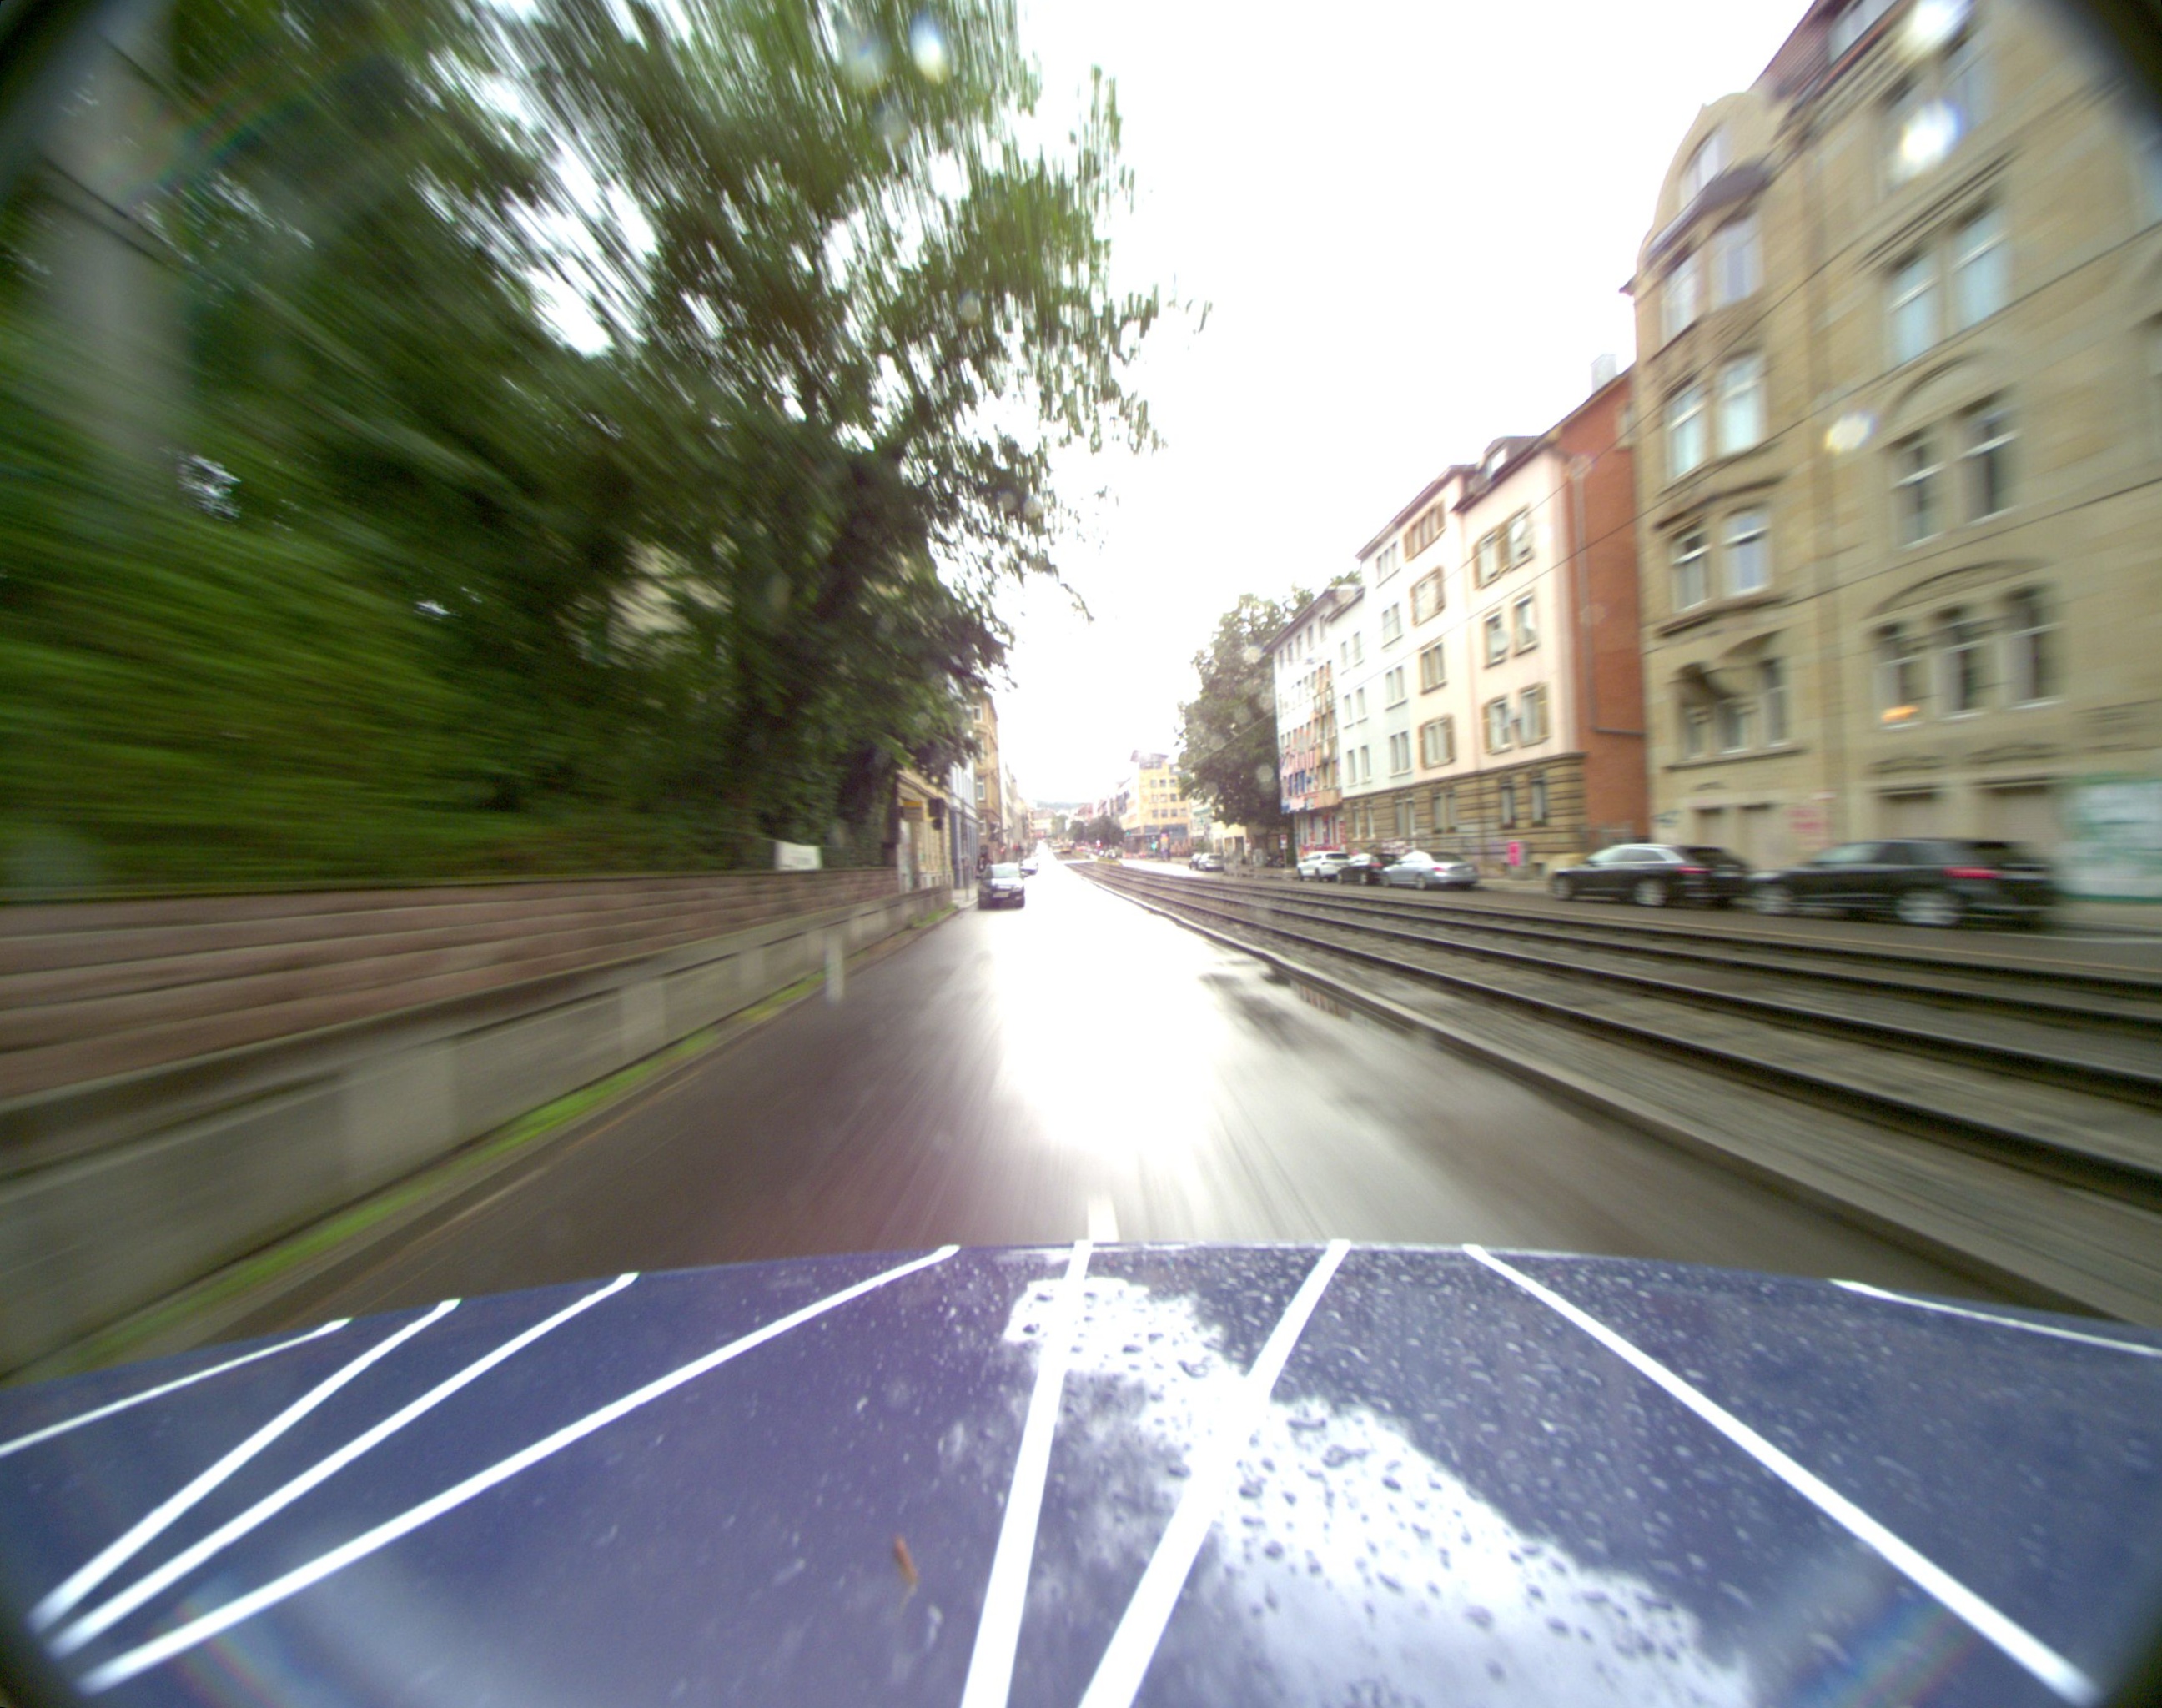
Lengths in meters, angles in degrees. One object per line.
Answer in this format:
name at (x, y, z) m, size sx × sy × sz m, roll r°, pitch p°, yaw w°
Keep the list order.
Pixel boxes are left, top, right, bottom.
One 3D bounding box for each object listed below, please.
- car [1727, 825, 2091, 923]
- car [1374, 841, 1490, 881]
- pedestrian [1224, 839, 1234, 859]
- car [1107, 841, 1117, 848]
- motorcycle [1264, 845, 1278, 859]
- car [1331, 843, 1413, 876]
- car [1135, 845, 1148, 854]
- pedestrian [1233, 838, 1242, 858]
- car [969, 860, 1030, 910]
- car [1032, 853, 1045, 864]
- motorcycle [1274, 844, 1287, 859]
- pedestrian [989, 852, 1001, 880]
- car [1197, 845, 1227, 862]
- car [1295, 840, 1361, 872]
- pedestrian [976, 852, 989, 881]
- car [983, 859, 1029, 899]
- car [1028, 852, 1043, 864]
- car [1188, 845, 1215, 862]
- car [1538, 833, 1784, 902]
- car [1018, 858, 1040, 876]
car at (14.082, 0.295, 13.369) m, size 1.741 × 1.447 × 4.169 m, roll 0°, pitch 0°, yaw -3°
car at (13.349, 0.242, 29.277) m, size 1.999 × 1.389 × 5.021 m, roll 0°, pitch 0°, yaw -2°
pedestrian at (14.162, -0.497, 72.858) m, size 0.809 × 1.858 × 0.536 m, roll -2°, pitch 0°, yaw 1°
car at (7.325, -2.215, 179.612) m, size 1.999 × 1.674 × 3.999 m, roll -3°, pitch 0°, yaw -2°
motorcycle at (16.577, -0.190, 66.386) m, size 0.473 × 1.139 × 2.565 m, roll -3°, pitch 0°, yaw -2°
car at (13.139, 0.247, 34.570) m, size 1.843 × 1.389 × 4.264 m, roll -1°, pitch 0°, yaw -4°
car at (12.052, -0.980, 152.282) m, size 1.999 × 1.674 × 3.999 m, roll -3°, pitch 0°, yaw -2°
pedestrian at (15.026, -0.586, 72.902) m, size 0.651 × 1.858 × 0.536 m, roll -2°, pitch 0°, yaw 1°
car at (-2.833, 1.040, 27.372) m, size 1.788 × 1.521 × 4.244 m, roll -3°, pitch 0°, yaw -2°
car at (-7.088, 0.719, 127.186) m, size 1.999 × 1.674 × 4.124 m, roll -3°, pitch 0°, yaw -2°
motorcycle at (16.613, -0.223, 63.353) m, size 0.437 × 1.174 × 2.017 m, roll -3°, pitch 0°, yaw -2°
pedestrian at (-5.810, 0.816, 51.243) m, size 0.716 × 1.879 × 0.599 m, roll -3°, pitch 1°, yaw -4°
car at (11.859, -0.039, 68.875) m, size 1.843 × 1.532 × 4.227 m, roll -1°, pitch 0°, yaw -2°
car at (12.989, 0.109, 40.159) m, size 1.843 × 1.596 × 4.226 m, roll -1°, pitch 0°, yaw -4°
pedestrian at (-6.645, 0.839, 51.177) m, size 0.765 × 1.902 × 0.587 m, roll -3°, pitch 1°, yaw -4°
car at (-3.175, 1.020, 32.823) m, size 1.760 × 1.521 × 4.332 m, roll -3°, pitch 0°, yaw -4°
car at (-6.667, 0.618, 112.300) m, size 1.999 × 1.674 × 4.124 m, roll -3°, pitch 0°, yaw -2°
car at (11.685, -0.034, 73.801) m, size 1.843 × 1.532 × 4.227 m, roll -1°, pitch 0°, yaw -2°
car at (13.809, 0.286, 18.609) m, size 1.999 × 1.447 × 5.020 m, roll 0°, pitch 0°, yaw -3°
car at (-5.377, 1.290, 79.022) m, size 1.999 × 1.674 × 4.124 m, roll -3°, pitch 0°, yaw -2°
